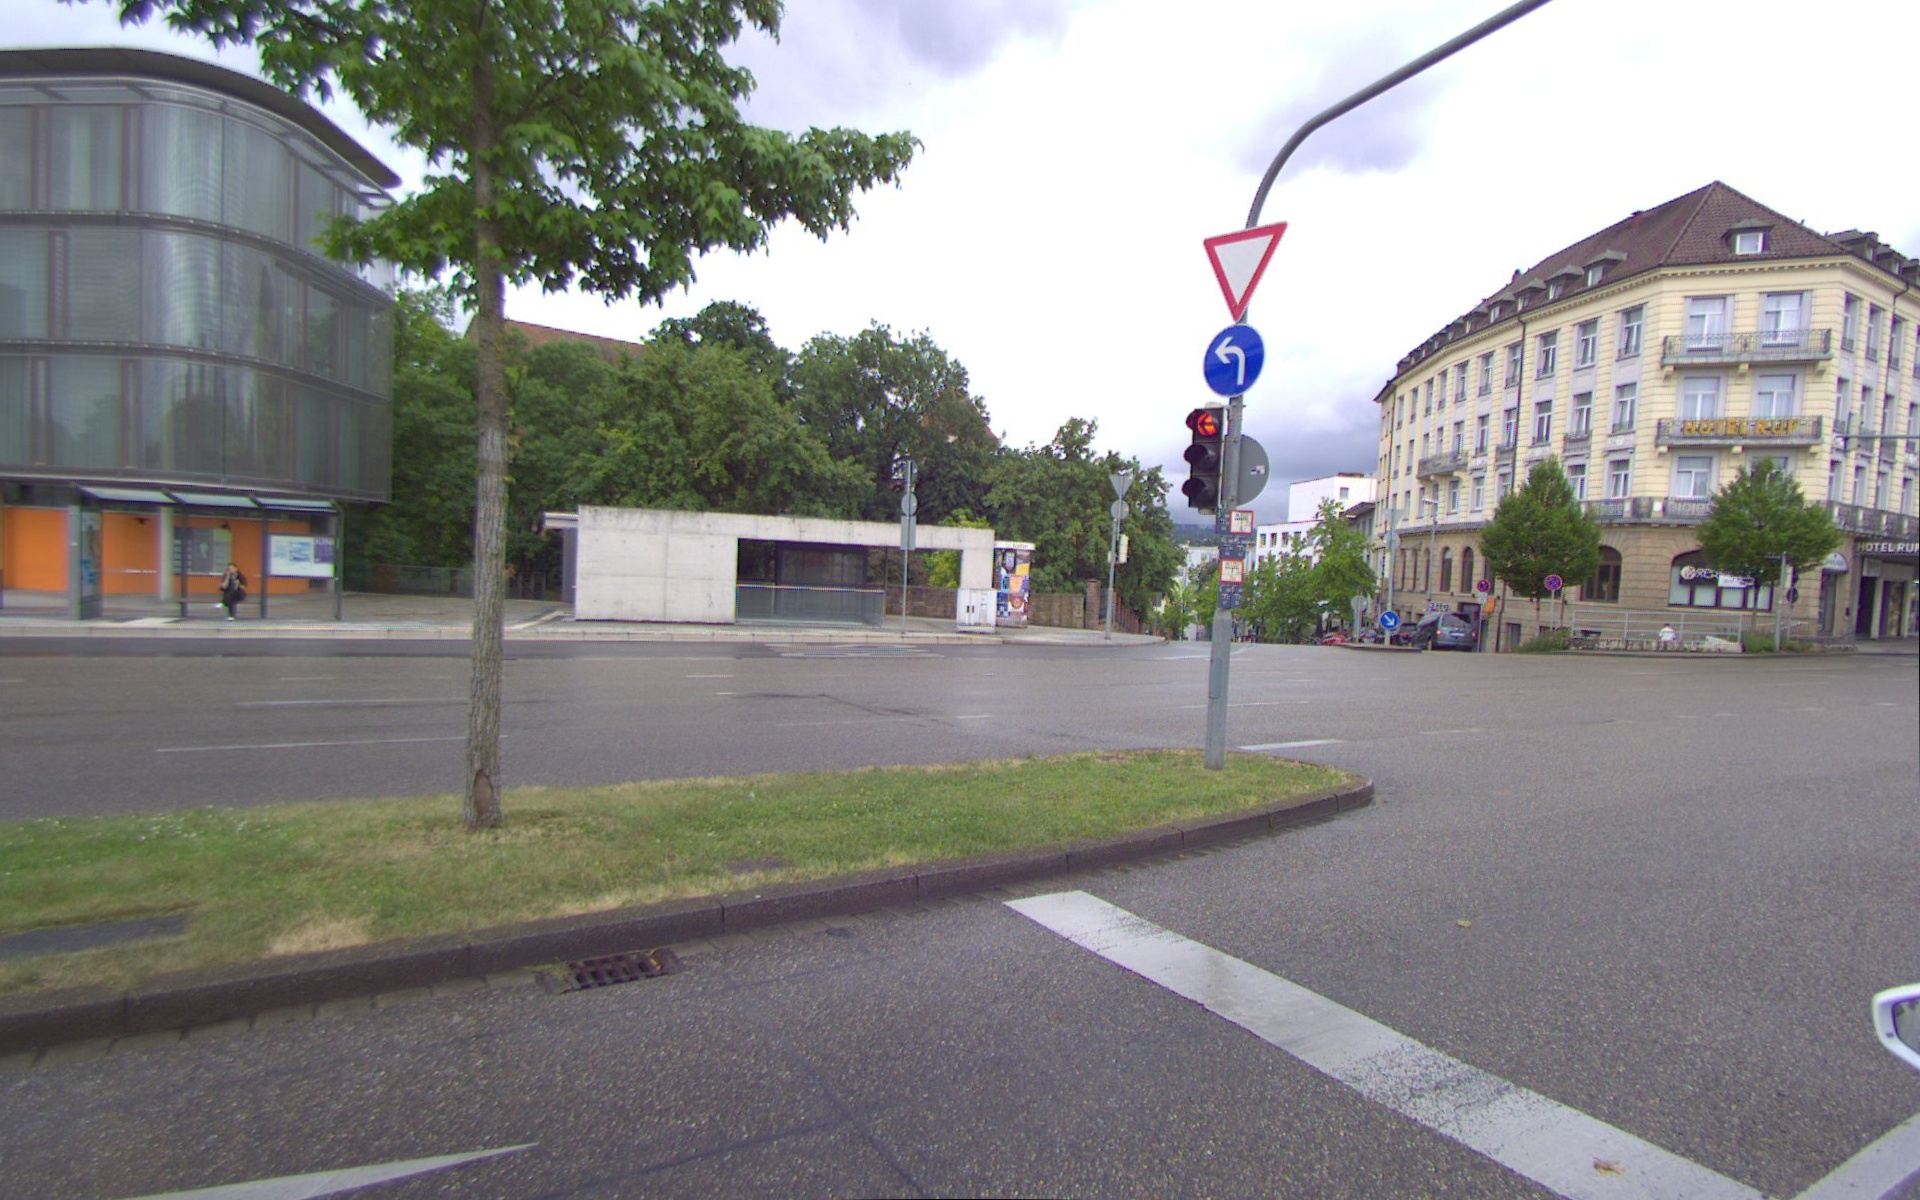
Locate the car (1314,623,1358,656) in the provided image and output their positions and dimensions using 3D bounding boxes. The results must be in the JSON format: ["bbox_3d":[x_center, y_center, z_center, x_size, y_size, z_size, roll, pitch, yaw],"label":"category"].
[{"bbox_3d":[23.575,2.472,63.045,1.741,1.836,3.624,2,1,7],"label":"car"}]

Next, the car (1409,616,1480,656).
[{"bbox_3d":[21.724,1.572,45.185,1.764,1.589,4.002,2,1,9],"label":"car"}]

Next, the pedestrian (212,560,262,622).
[{"bbox_3d":[-16.094,-0.190,22.376,0.780,1.341,0.798,1,1,-28],"label":"pedestrian"}]

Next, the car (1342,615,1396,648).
[{"bbox_3d":[23.152,1.768,56.991,1.757,1.662,3.916,2,1,6],"label":"car"}]

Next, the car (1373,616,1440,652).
[{"bbox_3d":[22.896,1.713,51.692,1.959,1.662,4.002,2,0,6],"label":"car"}]

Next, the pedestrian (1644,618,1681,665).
[{"bbox_3d":[29.004,1.712,41.484,1.010,1.903,0.859,1,1,-30],"label":"pedestrian"}]
